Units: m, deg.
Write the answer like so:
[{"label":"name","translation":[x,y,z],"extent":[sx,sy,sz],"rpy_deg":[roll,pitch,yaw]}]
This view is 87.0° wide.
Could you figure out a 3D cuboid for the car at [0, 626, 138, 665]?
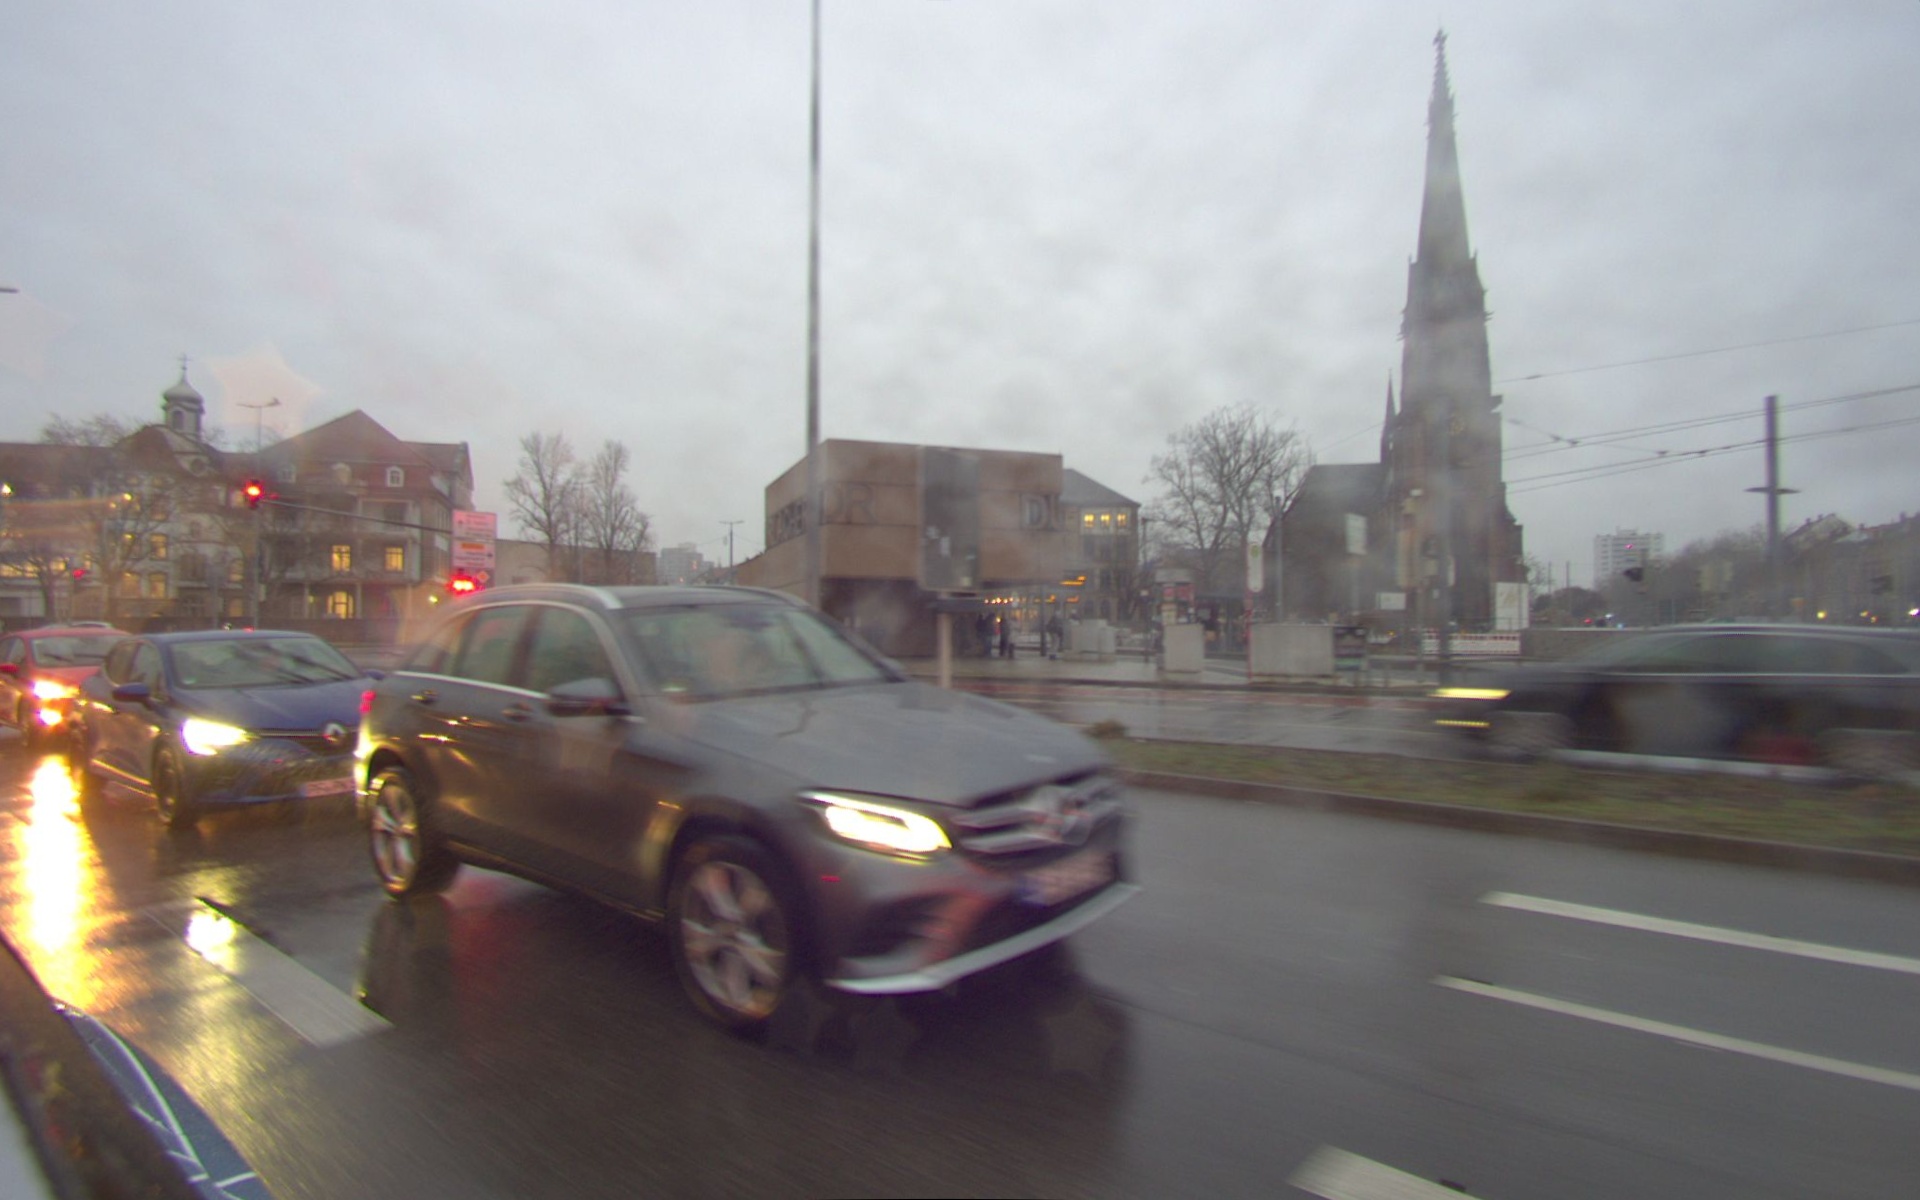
[{"label":"car","translation":[-39.586,1.986,44.896],"extent":[1.819,1.656,4.801],"rpy_deg":[0,-2,10]}]

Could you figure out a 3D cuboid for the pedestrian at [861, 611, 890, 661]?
[{"label":"pedestrian","translation":[-3.053,1.295,36.655],"extent":[0.828,1.781,0.657],"rpy_deg":[-1,-3,23]}]

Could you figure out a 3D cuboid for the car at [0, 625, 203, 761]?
[{"label":"car","translation":[-11.830,1.137,13.516],"extent":[3.864,1.493,1.685],"rpy_deg":[-2,1,36]}]

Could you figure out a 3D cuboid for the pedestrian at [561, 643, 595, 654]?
[{"label":"pedestrian","translation":[-37.214,4.680,98.559],"extent":[3.047,0.937,0.951],"rpy_deg":[-2,-3,-15]}]

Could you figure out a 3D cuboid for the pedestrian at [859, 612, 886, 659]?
[{"label":"pedestrian","translation":[-3.295,1.320,38.039],"extent":[0.731,1.739,0.745],"rpy_deg":[2,-3,-42]}]

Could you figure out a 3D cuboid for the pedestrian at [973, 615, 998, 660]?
[{"label":"pedestrian","translation":[0.998,1.476,39.926],"extent":[0.741,1.739,0.735],"rpy_deg":[-1,-3,30]}]

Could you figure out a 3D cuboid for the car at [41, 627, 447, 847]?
[{"label":"car","translation":[-6.236,0.971,8.654],"extent":[4.112,1.414,1.644],"rpy_deg":[-1,0,37]}]

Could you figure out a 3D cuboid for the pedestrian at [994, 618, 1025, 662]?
[{"label":"pedestrian","translation":[1.847,1.491,37.738],"extent":[0.841,1.615,0.968],"rpy_deg":[1,-3,-21]}]

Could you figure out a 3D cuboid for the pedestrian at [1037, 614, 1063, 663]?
[{"label":"pedestrian","translation":[3.343,1.433,37.672],"extent":[0.757,1.764,0.795],"rpy_deg":[-1,-3,22]}]

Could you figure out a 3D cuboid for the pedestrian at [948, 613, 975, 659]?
[{"label":"pedestrian","translation":[0.056,1.385,39.024],"extent":[0.731,1.739,0.745],"rpy_deg":[2,-3,-42]}]

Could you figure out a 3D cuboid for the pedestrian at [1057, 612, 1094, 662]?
[{"label":"pedestrian","translation":[4.557,1.465,40.095],"extent":[1.104,1.933,1.066],"rpy_deg":[1,-3,-18]}]

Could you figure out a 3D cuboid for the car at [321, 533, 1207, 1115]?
[{"label":"car","translation":[-1.295,0.642,4.947],"extent":[4.537,1.613,1.767],"rpy_deg":[-1,0,40]}]

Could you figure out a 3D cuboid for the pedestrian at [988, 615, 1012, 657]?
[{"label":"pedestrian","translation":[1.672,1.491,42.216],"extent":[0.741,1.739,0.734],"rpy_deg":[-1,-3,32]}]

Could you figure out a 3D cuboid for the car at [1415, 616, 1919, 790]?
[{"label":"car","translation":[7.268,0.884,9.974],"extent":[4.813,1.430,1.789],"rpy_deg":[-1,-1,36]}]

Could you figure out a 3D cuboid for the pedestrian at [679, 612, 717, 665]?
[{"label":"pedestrian","translation":[-9.493,1.399,36.630],"extent":[1.213,1.872,1.038],"rpy_deg":[-1,-3,-19]}]
